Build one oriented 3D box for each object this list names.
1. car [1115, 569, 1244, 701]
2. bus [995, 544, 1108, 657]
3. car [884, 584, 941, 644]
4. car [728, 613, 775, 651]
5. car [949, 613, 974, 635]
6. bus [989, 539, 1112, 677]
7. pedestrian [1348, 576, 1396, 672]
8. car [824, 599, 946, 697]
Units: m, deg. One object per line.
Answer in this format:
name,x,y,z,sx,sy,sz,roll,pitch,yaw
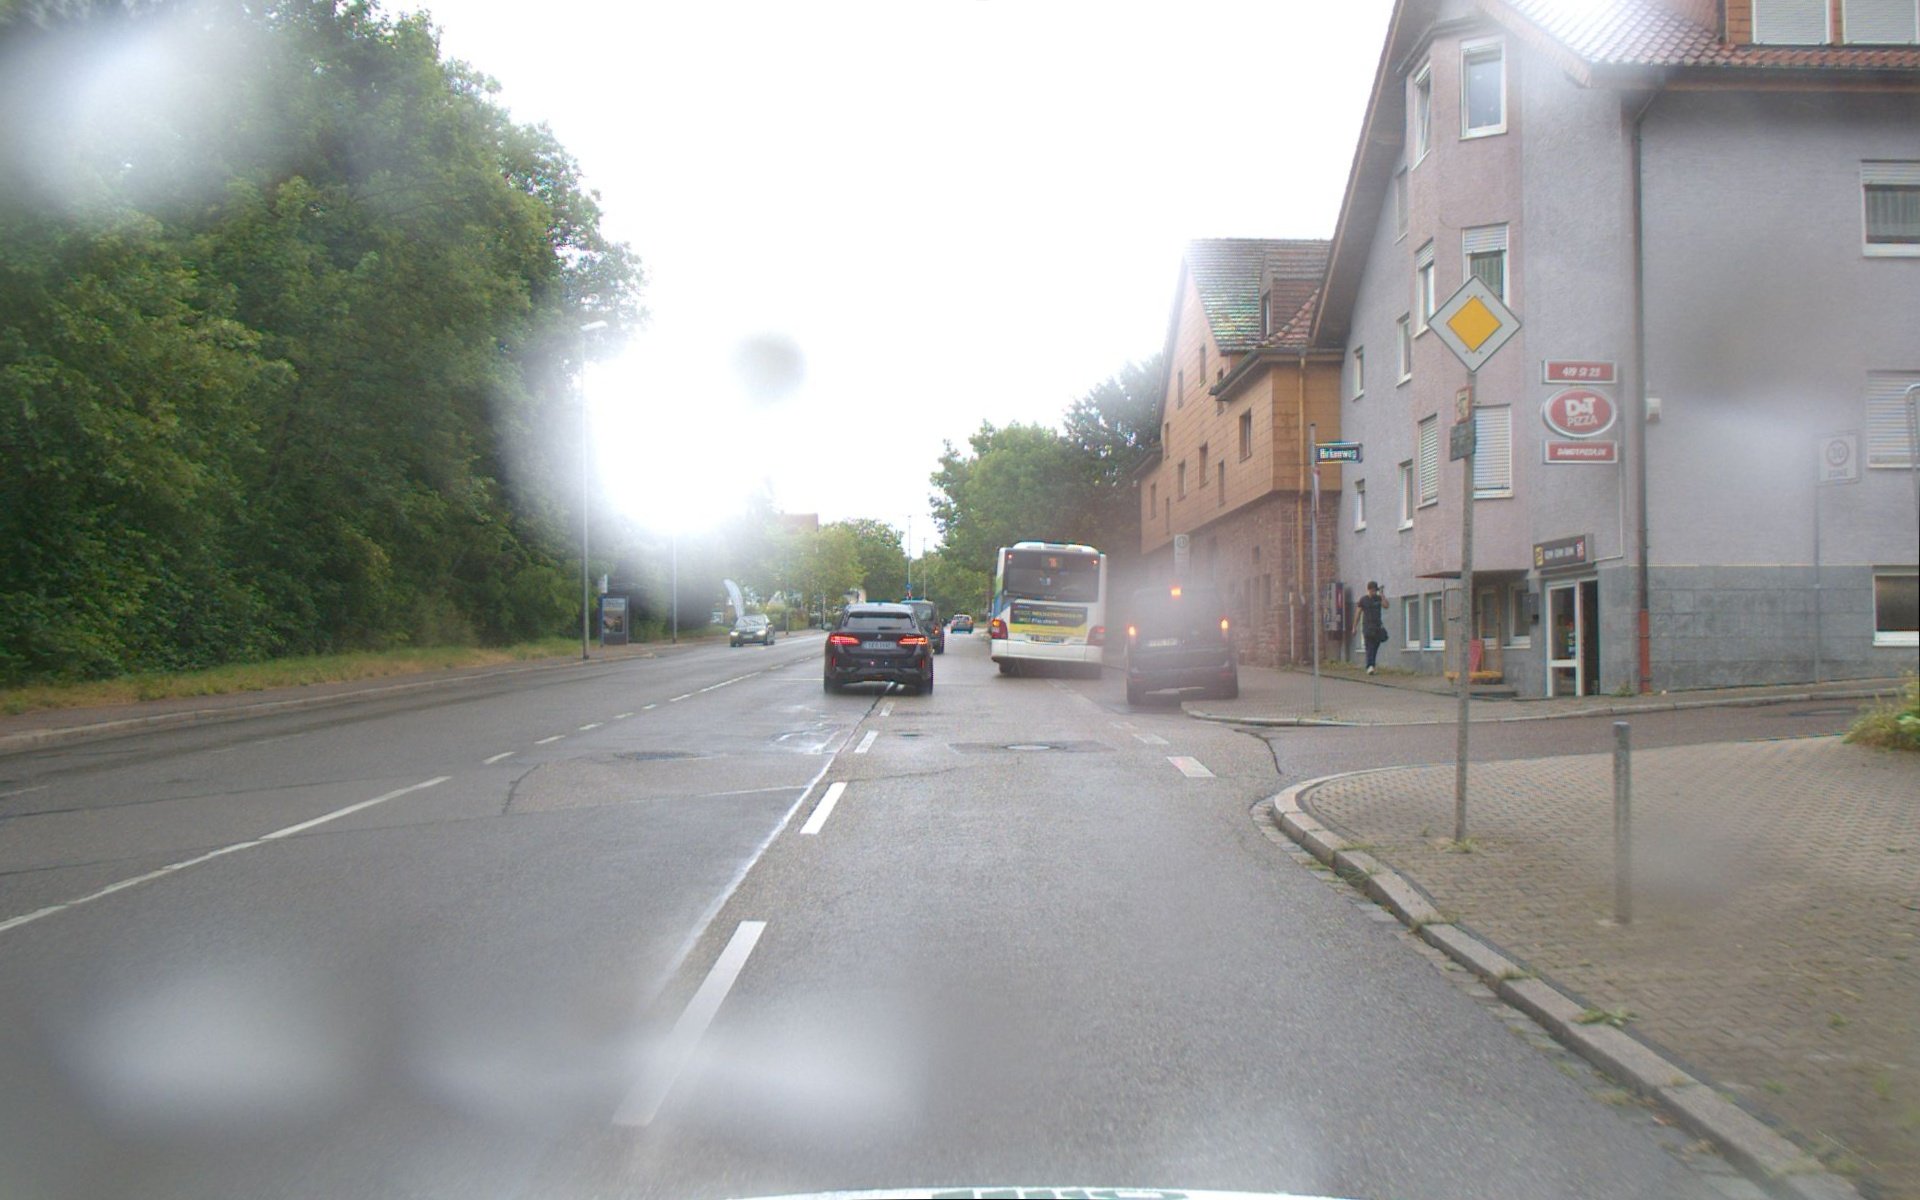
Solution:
car,3.735,0.546,28.092,1.886,1.925,4.765,-4,0,8
bus,2.530,-0.081,48.722,2.570,2.897,9.793,-2,1,-1
car,-1.672,0.475,59.759,1.953,2.049,4.000,0,1,0
car,-9.642,1.464,76.844,1.734,1.560,3.999,-2,1,-2
car,0.094,1.921,134.069,1.828,1.545,3.999,-1,2,-2
bus,2.309,0.081,39.742,2.568,2.897,8.294,-2,1,5
pedestrian,7.865,0.449,31.581,0.676,1.785,0.669,-2,0,-1
car,-1.388,0.791,29.244,1.955,1.478,3.996,2,1,-5
